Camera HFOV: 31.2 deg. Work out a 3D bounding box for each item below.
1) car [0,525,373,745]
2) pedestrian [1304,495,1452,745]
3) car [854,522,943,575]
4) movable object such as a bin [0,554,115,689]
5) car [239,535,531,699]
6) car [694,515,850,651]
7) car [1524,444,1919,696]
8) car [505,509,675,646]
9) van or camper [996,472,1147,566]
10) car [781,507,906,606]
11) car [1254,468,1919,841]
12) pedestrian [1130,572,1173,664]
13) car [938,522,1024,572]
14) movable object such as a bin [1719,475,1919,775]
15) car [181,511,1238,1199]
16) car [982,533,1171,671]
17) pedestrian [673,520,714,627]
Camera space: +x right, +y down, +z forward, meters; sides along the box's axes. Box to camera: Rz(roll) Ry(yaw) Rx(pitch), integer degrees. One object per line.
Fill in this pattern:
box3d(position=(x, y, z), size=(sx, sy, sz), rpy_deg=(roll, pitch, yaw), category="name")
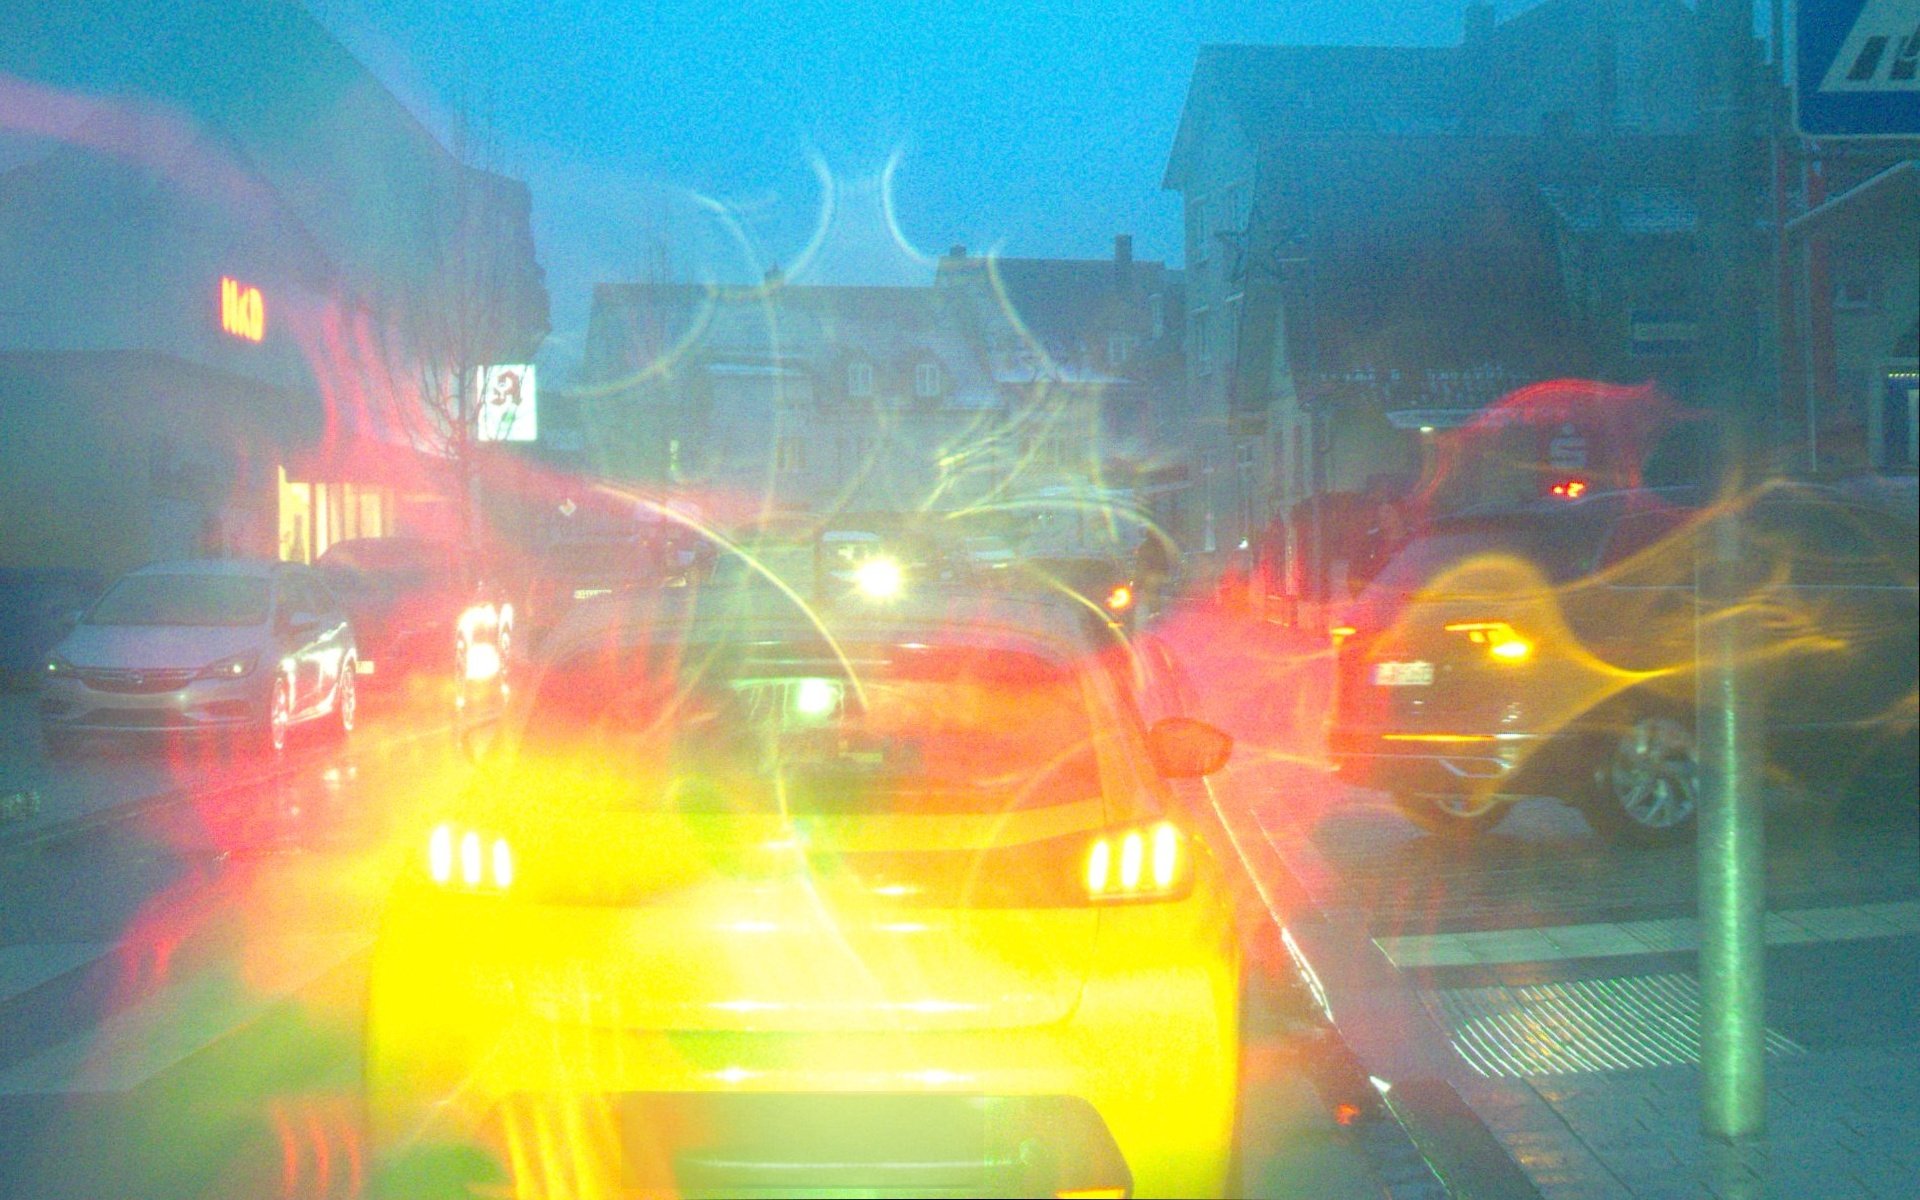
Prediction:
box3d(position=(-6.085, 0.215, 27.146), size=(1.993, 1.552, 4.621), rpy_deg=(1, 1, 1), category="car")
box3d(position=(3.224, 0.146, 26.600), size=(0.966, 1.883, 1.006), rpy_deg=(1, 1, -2), category="pedestrian")
box3d(position=(-2.144, -1.798, 119.128), size=(1.993, 1.759, 4.352), rpy_deg=(-2, 2, -16), category="car")
box3d(position=(-9.698, 0.230, 36.358), size=(1.340, 1.349, 0.889), rpy_deg=(-3, 1, -8), category="movable object such as a bin")
box3d(position=(-5.643, 0.123, 34.349), size=(1.993, 1.517, 4.978), rpy_deg=(0, 1, 1), category="car")
box3d(position=(-2.640, -0.295, 49.254), size=(1.993, 1.700, 4.967), rpy_deg=(2, 2, -1), category="car")
box3d(position=(7.080, -0.277, 30.301), size=(4.092, 2.042, 1.999), rpy_deg=(-2, 1, 9), category="car")
box3d(position=(-5.055, -0.354, 47.519), size=(2.085, 1.786, 5.025), rpy_deg=(0, 1, -3), category="car")
box3d(position=(3.838, -2.806, 120.139), size=(2.650, 3.037, 6.736), rpy_deg=(-4, 2, -22), category="van or camper")
box3d(position=(-2.240, -0.853, 64.999), size=(1.951, 1.541, 4.417), rpy_deg=(4, 3, -6), category="car")
box3d(position=(3.670, 0.235, 16.704), size=(3.986, 1.619, 1.999), rpy_deg=(1, 1, -27), category="car")
box3d(position=(3.696, 0.345, 66.389), size=(0.745, 1.723, 0.873), rpy_deg=(0, 2, -2), category="pedestrian")
box3d(position=(0.720, -1.834, 119.435), size=(1.993, 1.605, 4.175), rpy_deg=(-2, 0, -13), category="car")
box3d(position=(5.243, 0.115, 19.771), size=(1.392, 1.638, 1.262), rpy_deg=(-2, 1, -2), category="movable object such as a bin")
box3d(position=(-0.384, 0.601, 7.950), size=(1.814, 1.528, 4.000), rpy_deg=(1, 1, 2), category="car")
box3d(position=(1.378, -0.005, 42.143), size=(1.993, 1.583, 4.000), rpy_deg=(1, 1, -2), category="car")
box3d(position=(-3.964, -0.402, 51.170), size=(0.574, 1.580, 0.530), rpy_deg=(0, 2, -2), category="pedestrian")
